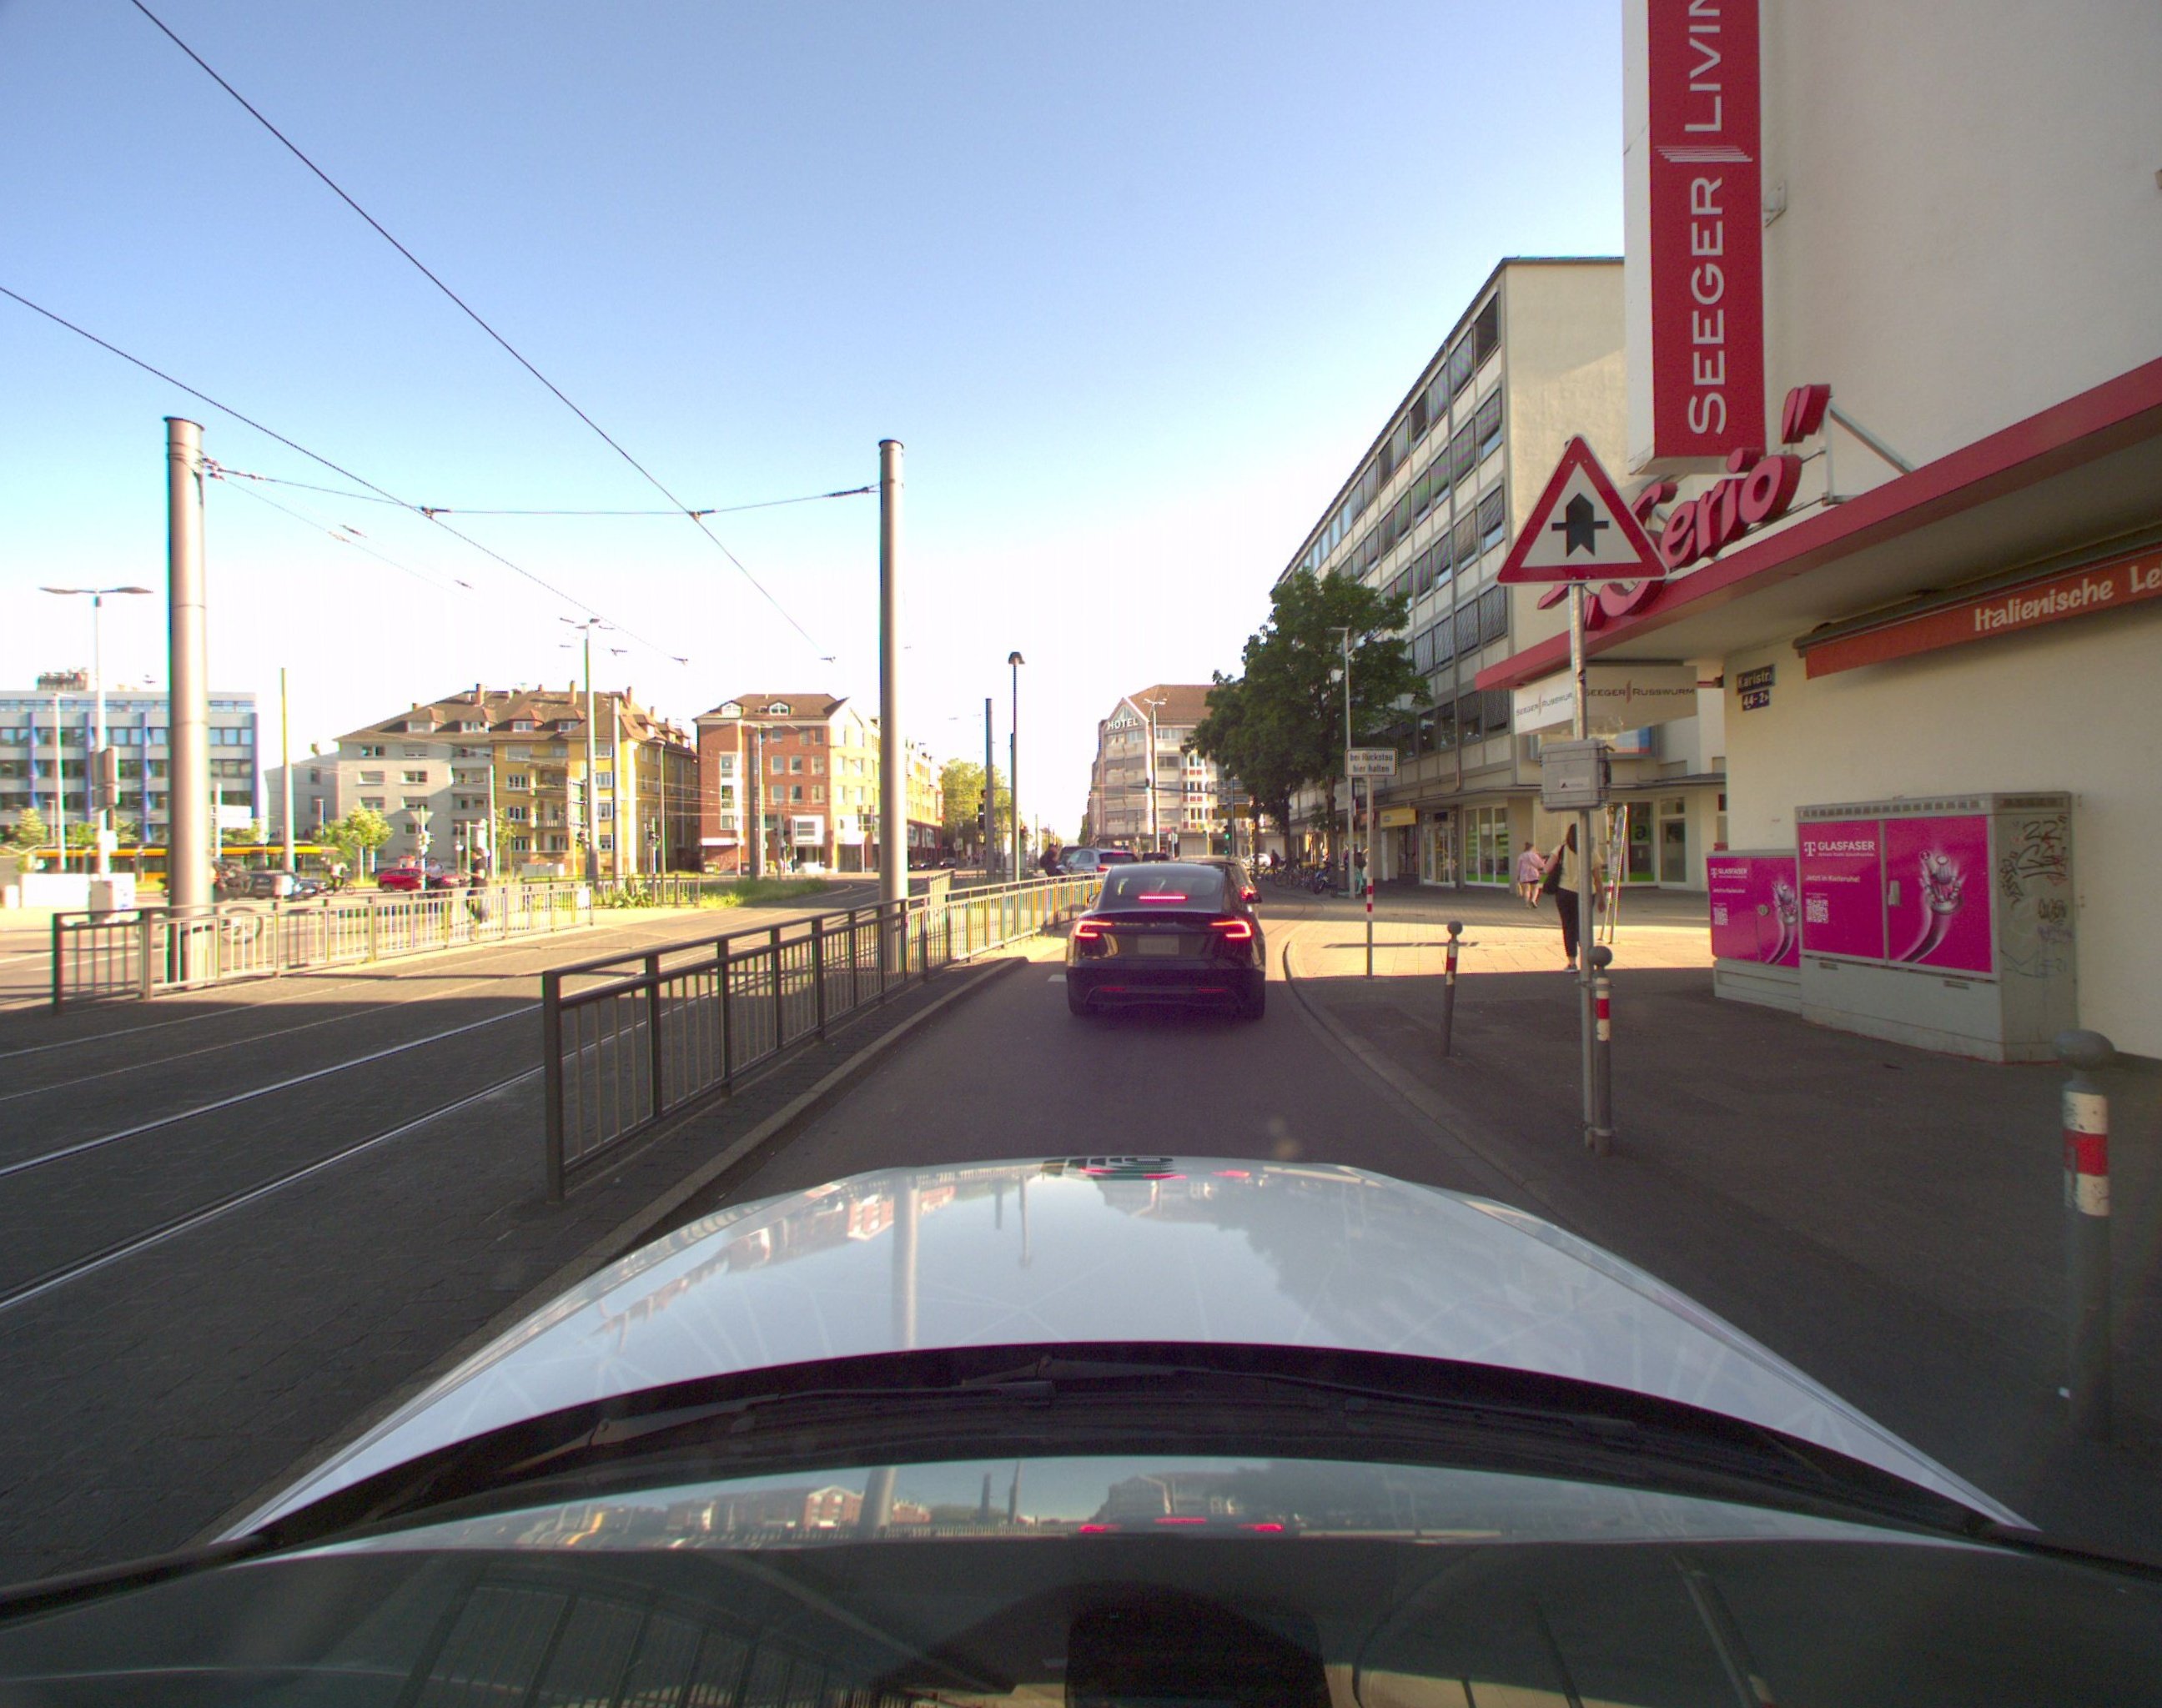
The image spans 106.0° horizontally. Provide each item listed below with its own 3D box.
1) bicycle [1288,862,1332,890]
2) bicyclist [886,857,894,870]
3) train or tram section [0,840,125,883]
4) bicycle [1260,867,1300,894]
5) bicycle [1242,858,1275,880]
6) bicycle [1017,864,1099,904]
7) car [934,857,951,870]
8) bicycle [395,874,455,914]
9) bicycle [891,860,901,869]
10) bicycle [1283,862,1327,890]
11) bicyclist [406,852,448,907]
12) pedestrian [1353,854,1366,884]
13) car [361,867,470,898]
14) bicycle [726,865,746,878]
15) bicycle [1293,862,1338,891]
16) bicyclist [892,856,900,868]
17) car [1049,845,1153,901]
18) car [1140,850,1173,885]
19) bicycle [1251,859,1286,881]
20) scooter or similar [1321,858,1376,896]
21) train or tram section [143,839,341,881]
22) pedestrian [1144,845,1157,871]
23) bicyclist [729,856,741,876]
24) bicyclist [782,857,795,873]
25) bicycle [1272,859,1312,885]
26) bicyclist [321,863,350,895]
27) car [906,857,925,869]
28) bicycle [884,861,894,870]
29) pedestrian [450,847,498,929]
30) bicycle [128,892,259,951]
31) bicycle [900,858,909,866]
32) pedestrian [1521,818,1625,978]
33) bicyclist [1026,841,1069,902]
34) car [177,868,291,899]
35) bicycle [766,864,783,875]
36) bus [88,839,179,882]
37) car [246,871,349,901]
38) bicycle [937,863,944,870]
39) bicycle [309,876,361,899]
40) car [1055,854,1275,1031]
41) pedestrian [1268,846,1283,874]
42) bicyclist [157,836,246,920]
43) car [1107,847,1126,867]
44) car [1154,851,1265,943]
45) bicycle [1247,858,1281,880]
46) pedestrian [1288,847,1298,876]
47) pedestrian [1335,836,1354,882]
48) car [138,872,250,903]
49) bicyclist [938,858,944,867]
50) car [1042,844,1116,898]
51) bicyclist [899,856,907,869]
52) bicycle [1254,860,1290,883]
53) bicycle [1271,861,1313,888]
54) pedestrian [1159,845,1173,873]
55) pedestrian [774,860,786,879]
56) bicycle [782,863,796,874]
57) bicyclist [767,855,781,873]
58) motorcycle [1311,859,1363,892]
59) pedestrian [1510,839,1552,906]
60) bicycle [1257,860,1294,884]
[{"bbox_3d":[8.819,0.856,31.364,1.649,1.061,0.349,0,-1,-9],"label":"bicycle"},{"bbox_3d":[-22.525,1.132,96.163,0.781,1.563,0.747,0,-1,2],"label":"bicyclist"},{"bbox_3d":[-80.511,0.552,60.522,13.667,3.131,2.725,0,-1,-9],"label":"train or tram section"},{"bbox_3d":[8.351,1.104,34.180,1.649,1.099,0.349,0,-1,-9],"label":"bicycle"},{"bbox_3d":[9.246,0.787,42.395,1.643,1.099,0.350,0,-1,3],"label":"bicycle"},{"bbox_3d":[-0.610,0.801,22.619,2.346,1.053,0.624,0,-1,-36],"label":"bicycle"},{"bbox_3d":[-18.132,1.241,106.658,1.692,1.731,3.706,0,-1,0],"label":"car"},{"bbox_3d":[-21.411,1.295,26.622,0.482,1.222,1.854,0,-1,-1],"label":"bicycle"},{"bbox_3d":[-22.654,1.326,99.720,0.527,1.088,2.285,3,-1,2],"label":"bicycle"},{"bbox_3d":[8.732,0.855,31.790,1.649,1.099,0.349,0,-1,-9],"label":"bicycle"},{"bbox_3d":[-21.437,0.820,26.720,0.754,1.759,0.752,0,-1,-2],"label":"bicyclist"},{"bbox_3d":[12.383,0.672,36.198,0.388,1.343,0.513,0,-1,4],"label":"pedestrian"},{"bbox_3d":[-39.455,1.656,48.374,4.585,1.700,1.993,0,-1,-10],"label":"car"},{"bbox_3d":[-26.097,1.329,61.619,0.445,0.972,2.247,0,-1,2],"label":"bicycle"},{"bbox_3d":[8.897,0.856,30.940,1.649,1.099,0.349,0,-1,-9],"label":"bicycle"},{"bbox_3d":[-22.654,0.975,99.739,0.780,1.563,0.747,-1,0,2],"label":"bicyclist"},{"bbox_3d":[0.549,0.585,26.558,1.891,1.662,4.126,0,-1,-23],"label":"car"},{"bbox_3d":[4.050,0.721,44.203,1.592,1.778,3.983,0,-1,2],"label":"car"},{"bbox_3d":[9.282,0.794,40.252,1.643,1.099,0.350,0,-1,3],"label":"bicycle"},{"bbox_3d":[8.900,0.760,27.100,1.625,1.215,0.649,-1,-1,32],"label":"scooter or similar"},{"bbox_3d":[-64.663,0.451,63.042,11.225,3.131,2.797,0,-1,-8],"label":"train or tram section"},{"bbox_3d":[5.361,0.312,63.004,0.917,2.014,0.973,0,-1,1],"label":"pedestrian"},{"bbox_3d":[-26.106,0.917,61.452,0.631,1.503,0.696,0,-1,1],"label":"bicyclist"},{"bbox_3d":[-26.880,1.011,74.934,0.699,1.471,0.975,-1,0,9],"label":"bicyclist"},{"bbox_3d":[9.120,0.770,35.260,1.643,1.099,0.350,0,-1,3],"label":"bicycle"},{"bbox_3d":[-41.848,1.388,45.742,0.901,1.808,0.788,0,-1,-11],"label":"bicyclist"},{"bbox_3d":[-20.880,1.100,102.825,1.706,1.527,4.032,0,-1,-3],"label":"car"},{"bbox_3d":[-22.546,1.346,95.640,0.535,1.088,2.226,0,-1,2],"label":"bicycle"},{"bbox_3d":[-12.678,0.694,17.026,0.592,1.681,0.769,0,-1,-19],"label":"pedestrian"},{"bbox_3d":[-16.366,1.228,15.061,1.604,0.994,0.400,0,-1,-23],"label":"bicycle"},{"bbox_3d":[-22.420,1.033,103.694,0.527,1.088,2.286,0,-1,4],"label":"bicycle"},{"bbox_3d":[5.759,0.488,9.605,0.906,1.752,1.044,-1,0,25],"label":"pedestrian"},{"bbox_3d":[-0.924,0.468,22.417,0.763,1.628,0.967,0,-1,-37],"label":"bicyclist"},{"bbox_3d":[-44.006,1.529,42.384,3.851,1.526,1.640,0,-1,-9],"label":"car"},{"bbox_3d":[-25.825,1.295,68.575,0.522,0.972,2.247,0,-1,2],"label":"bicycle"},{"bbox_3d":[-71.956,0.498,61.948,3.514,3.131,2.763,0,-1,-8],"label":"bus"},{"bbox_3d":[-45.492,1.842,47.379,3.984,1.672,1.772,0,-1,-8],"label":"car"},{"bbox_3d":[-23.267,2.100,134.929,0.527,1.088,2.227,0,-1,4],"label":"bicycle"},{"bbox_3d":[-41.864,1.868,45.729,2.188,1.214,0.544,0,-1,-11],"label":"bicycle"},{"bbox_3d":[0.932,0.753,8.806,1.820,1.455,4.007,-1,-1,7],"label":"car"},{"bbox_3d":[11.553,0.368,48.301,0.697,1.662,0.777,0,-1,1],"label":"pedestrian"},{"bbox_3d":[-16.289,0.431,15.101,1.044,1.521,0.389,0,-1,-23],"label":"bicyclist"},{"bbox_3d":[3.205,0.258,74.578,1.713,1.751,3.755,0,-1,2],"label":"car"},{"bbox_3d":[2.342,0.679,15.027,1.741,1.454,4.009,-1,0,8],"label":"car"},{"bbox_3d":[9.265,0.757,41.300,1.643,1.099,0.350,-1,0,3],"label":"bicycle"},{"bbox_3d":[12.557,0.417,48.246,0.523,1.710,0.404,-1,-1,8],"label":"pedestrian"},{"bbox_3d":[11.739,0.229,36.310,0.659,2.014,0.580,0,-1,4],"label":"pedestrian"},{"bbox_3d":[-50.622,1.882,46.561,3.952,1.685,1.903,0,-1,-11],"label":"car"},{"bbox_3d":[-23.253,1.381,135.202,0.780,1.563,0.747,0,-1,3],"label":"bicyclist"},{"bbox_3d":[-0.156,0.661,32.782,1.997,2.014,3.980,-1,0,-15],"label":"car"},{"bbox_3d":[-22.508,1.046,103.110,0.780,1.563,0.747,-1,0,3],"label":"bicyclist"},{"bbox_3d":[9.206,0.837,39.240,1.643,1.099,0.350,0,-1,3],"label":"bicycle"},{"bbox_3d":[8.618,0.843,33.321,1.649,1.099,0.349,0,-1,-9],"label":"bicycle"},{"bbox_3d":[6.197,0.351,59.484,0.917,2.014,0.973,0,-1,1],"label":"pedestrian"},{"bbox_3d":[-29.885,1.534,80.859,0.780,1.820,0.747,0,-1,3],"label":"pedestrian"},{"bbox_3d":[-26.841,1.358,74.932,0.402,0.981,1.699,-1,-1,10],"label":"bicycle"},{"bbox_3d":[-25.849,0.832,68.523,0.895,1.503,0.696,0,-1,1],"label":"bicyclist"},{"bbox_3d":[9.146,0.765,29.144,1.701,1.173,0.541,0,-1,0],"label":"motorcycle"},{"bbox_3d":[11.552,0.475,20.938,0.881,1.667,0.813,-1,-1,25],"label":"pedestrian"},{"bbox_3d":[9.142,0.833,38.214,1.643,1.099,0.350,0,-1,3],"label":"bicycle"}]
